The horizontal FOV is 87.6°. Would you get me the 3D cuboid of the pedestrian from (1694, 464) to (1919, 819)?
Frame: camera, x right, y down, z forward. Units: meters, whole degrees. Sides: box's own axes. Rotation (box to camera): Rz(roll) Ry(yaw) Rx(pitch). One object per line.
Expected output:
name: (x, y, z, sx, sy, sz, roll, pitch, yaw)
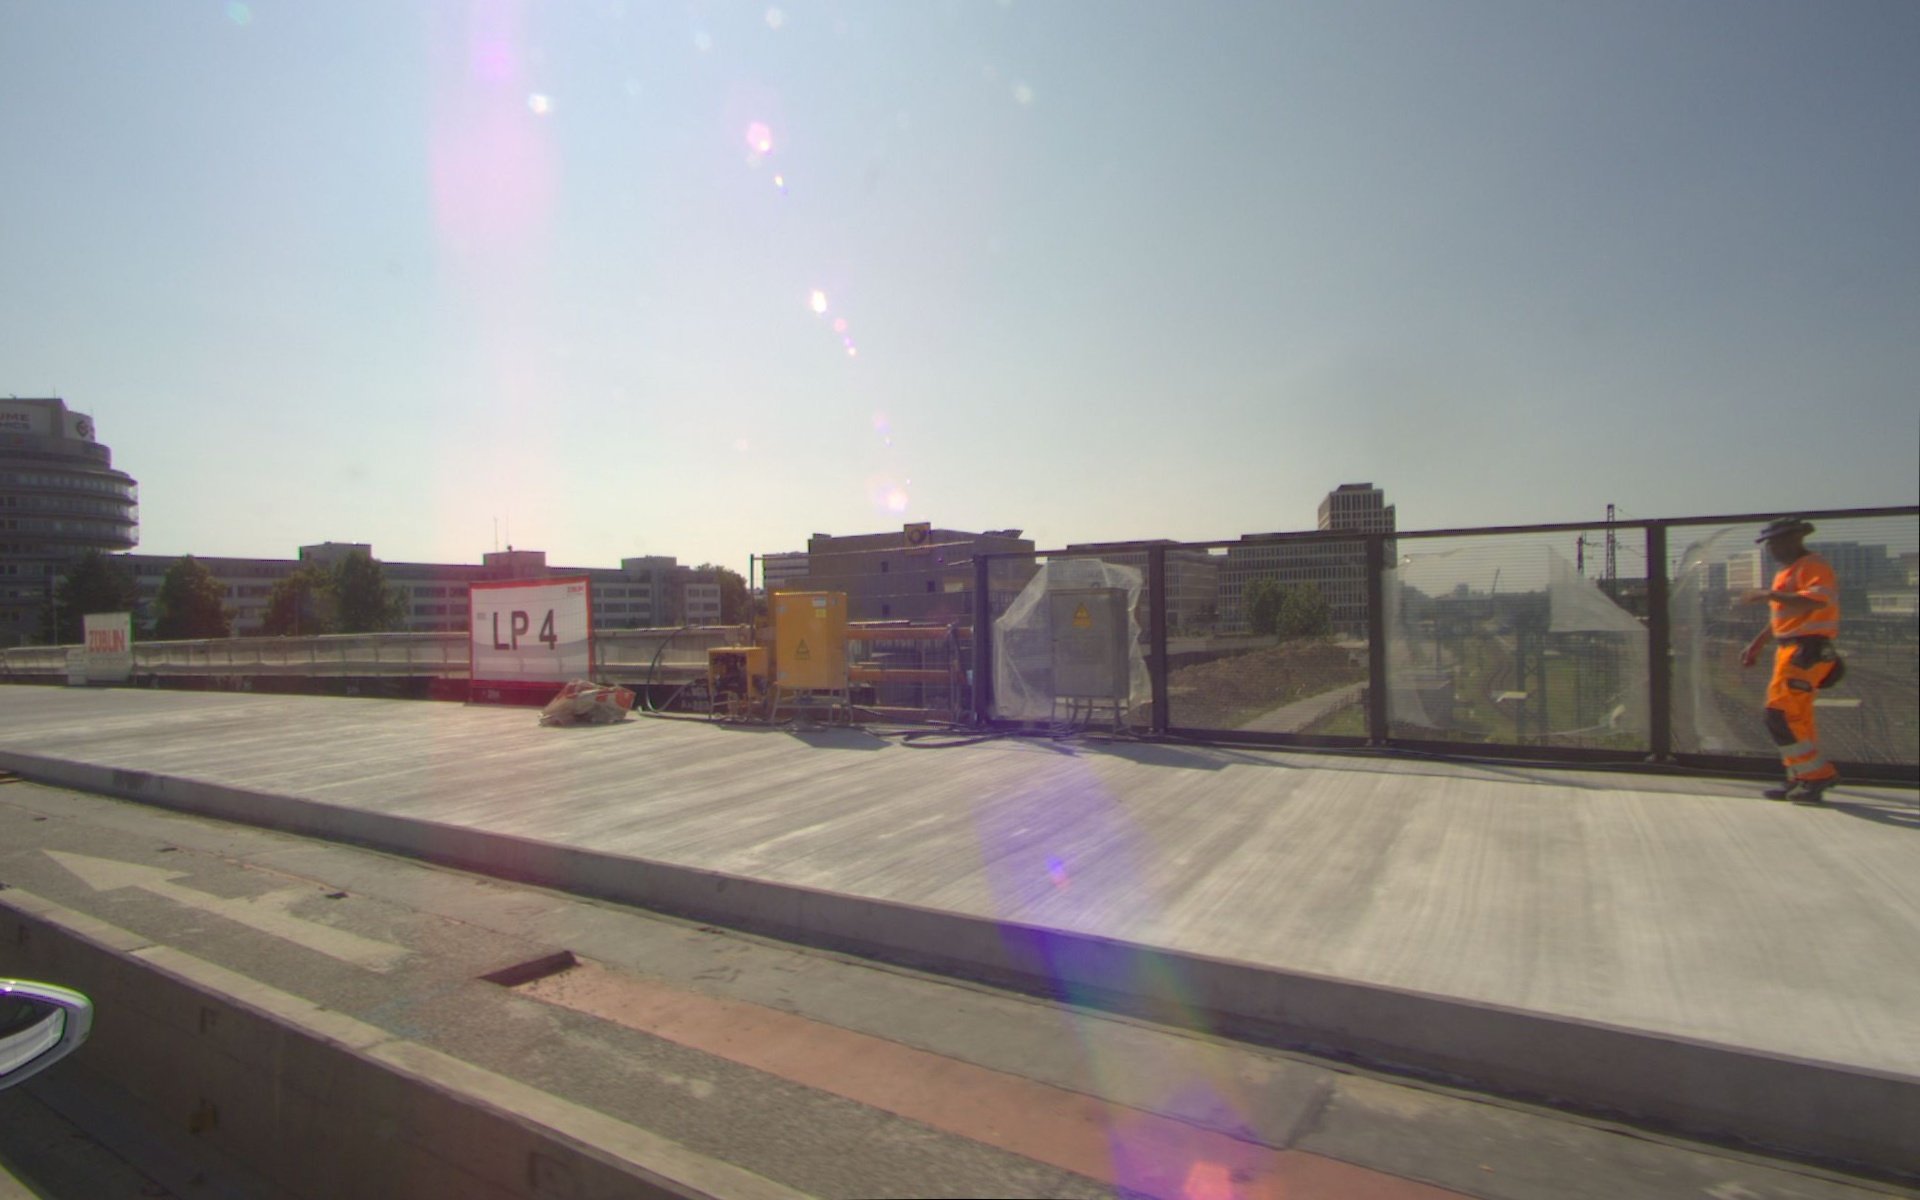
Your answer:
pedestrian: (5.182, 0.237, 6.162, 1.002, 1.991, 0.729, -1, 1, 32)
